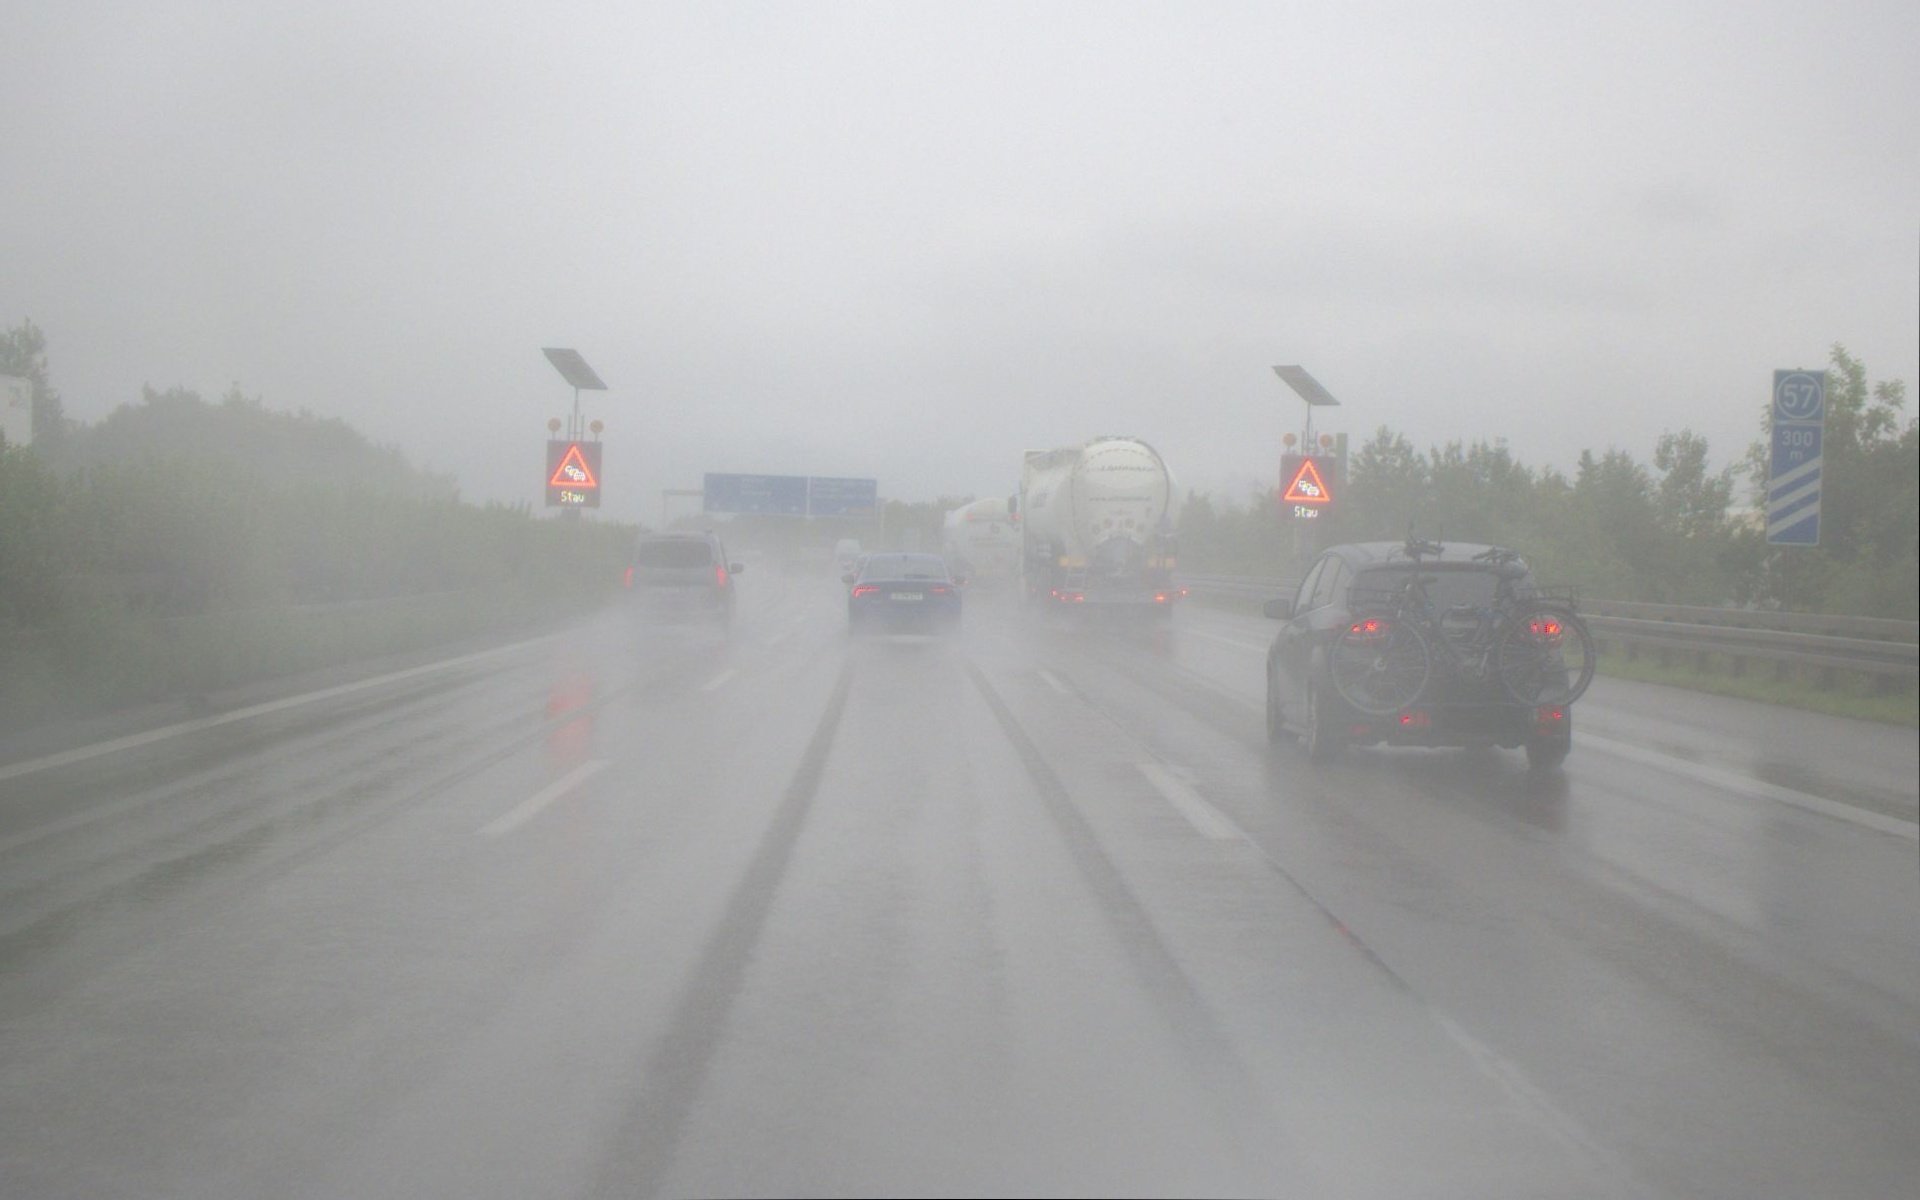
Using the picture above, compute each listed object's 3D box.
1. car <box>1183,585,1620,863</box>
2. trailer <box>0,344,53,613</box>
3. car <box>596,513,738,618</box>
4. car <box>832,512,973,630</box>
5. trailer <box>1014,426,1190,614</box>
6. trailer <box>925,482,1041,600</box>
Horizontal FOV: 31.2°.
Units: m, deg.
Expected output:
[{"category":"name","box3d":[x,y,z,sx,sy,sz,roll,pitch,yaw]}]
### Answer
[{"category":"car","box3d":[3.084,0.806,25.449,2.457,1.740,5.719,1,1,0]},{"category":"trailer","box3d":[-18.590,-2.088,55.916,3.869,4.679,15.027,1,1,-1]},{"category":"car","box3d":[-5.055,-0.611,59.846,1.925,1.735,4.404,1,1,2]},{"category":"car","box3d":[-0.862,-0.470,54.411,1.978,1.750,4.481,1,1,2]},{"category":"trailer","box3d":[2.876,-1.688,73.350,3.188,3.657,11.667,1,1,0]},{"category":"trailer","box3d":[0.709,-2.022,117.152,3.004,3.834,8.625,0,1,-6]}]
